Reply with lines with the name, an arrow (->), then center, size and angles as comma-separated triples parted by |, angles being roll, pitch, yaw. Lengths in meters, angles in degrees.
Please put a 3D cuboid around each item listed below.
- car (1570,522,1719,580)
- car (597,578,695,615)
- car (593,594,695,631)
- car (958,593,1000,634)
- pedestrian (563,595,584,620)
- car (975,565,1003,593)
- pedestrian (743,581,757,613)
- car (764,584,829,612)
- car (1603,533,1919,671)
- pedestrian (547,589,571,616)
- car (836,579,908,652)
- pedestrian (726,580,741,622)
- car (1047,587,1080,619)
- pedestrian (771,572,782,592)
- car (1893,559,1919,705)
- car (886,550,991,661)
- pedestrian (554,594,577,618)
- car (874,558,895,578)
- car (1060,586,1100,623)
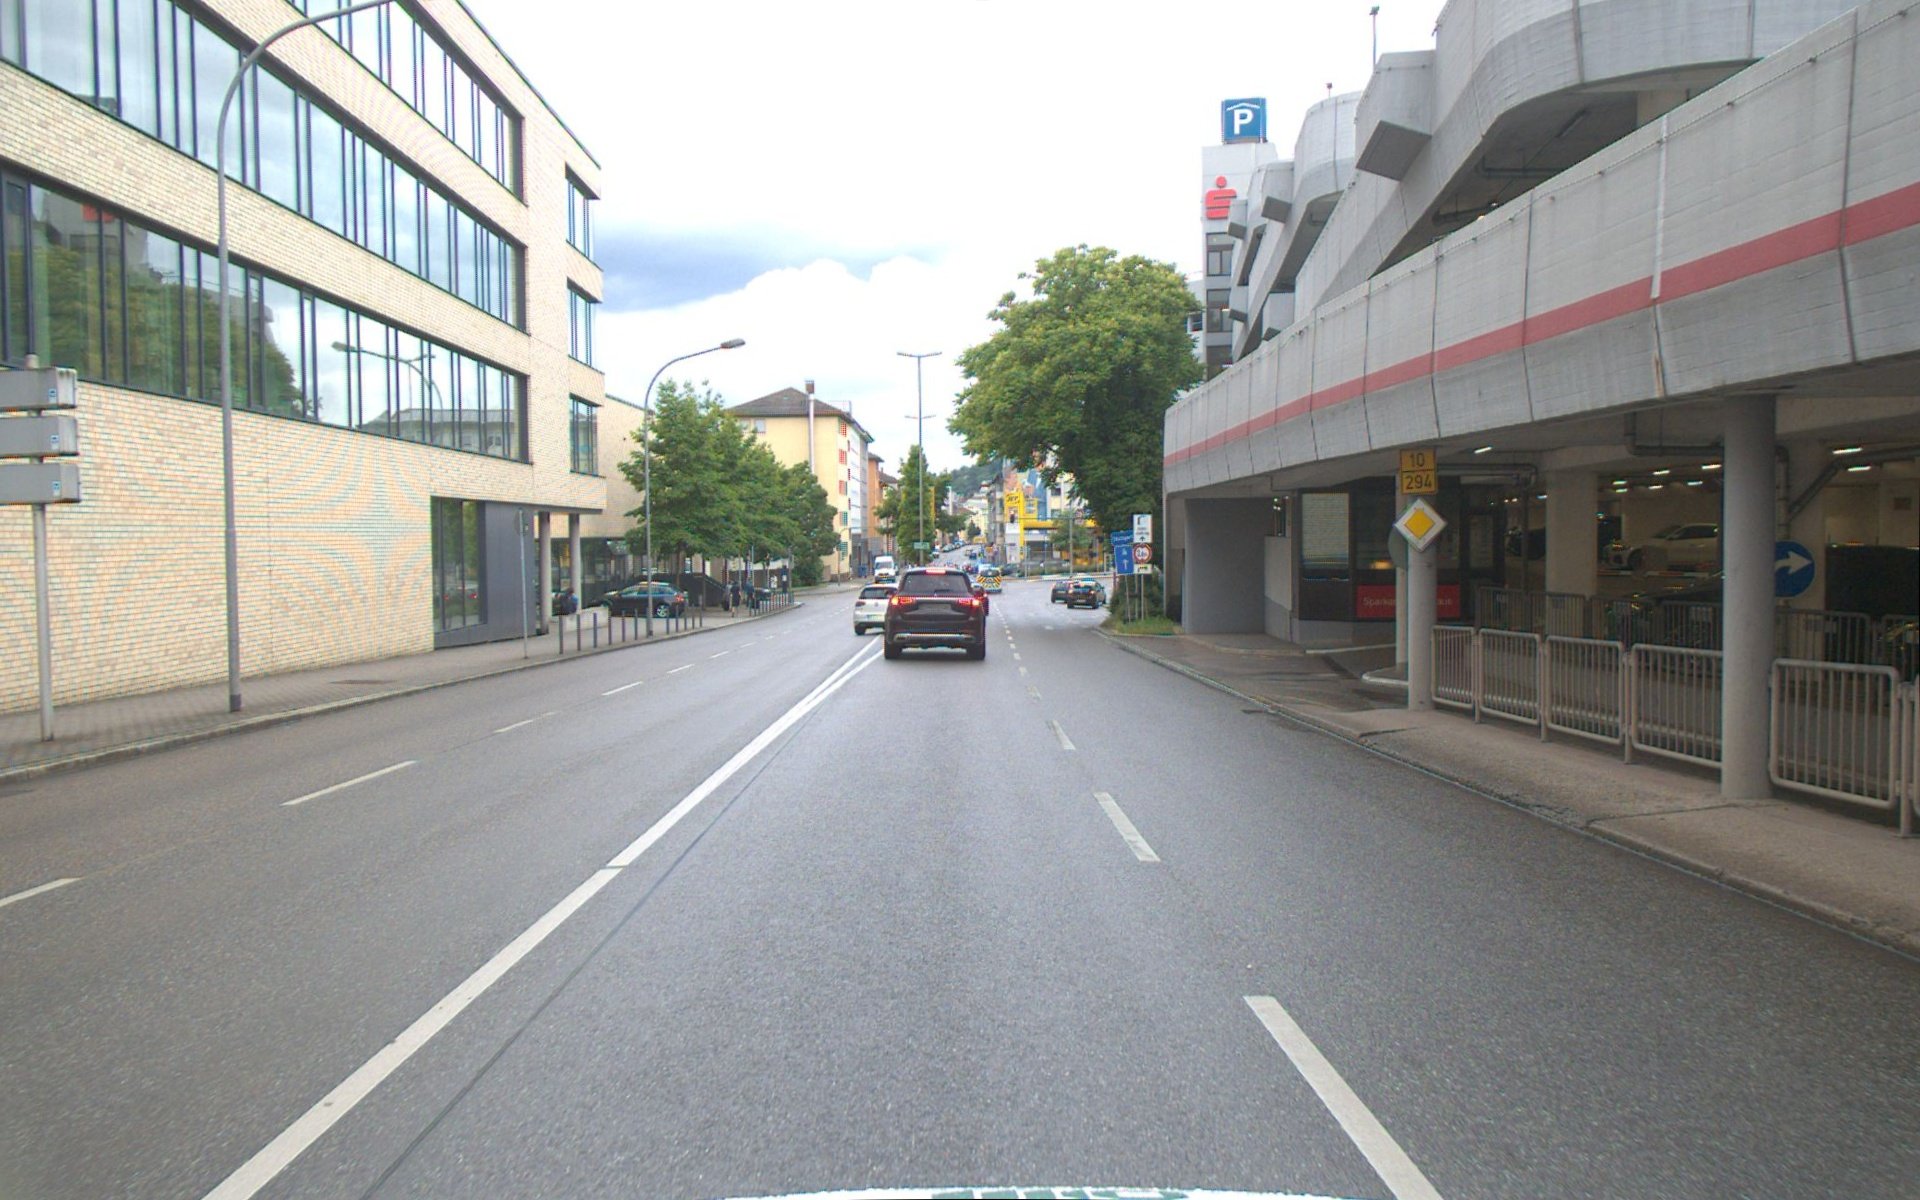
car -> 21.228, -1.509, 51.426 | 3.902, 1.668, 2.002 | 1, 0, 10
car -> -14.708, -0.184, 77.657 | 4.330, 1.601, 1.999 | 1, 2, -5
car -> -14.396, 0.560, 75.456 | 4.382, 1.615, 1.998 | -1, 1, -6
car -> 0.829, 0.612, 74.784 | 1.669, 1.746, 3.441 | 1, 0, -3
pedestrian -> -13.383, 0.259, 57.277 | 0.574, 0.859, 0.727 | 0, 0, 0
car -> 2.173, -1.557, 124.331 | 1.953, 2.049, 3.999 | 1, 0, -1
pedestrian -> -11.931, -0.174, 93.911 | 0.674, 1.756, 0.754 | 1, -3, 0
car -> -12.071, -0.143, 121.991 | 4.713, 2.049, 1.997 | 0, 1, -7
car -> 11.067, 0.031, 21.913 | 4.478, 1.668, 1.823 | 1, 0, 12
pedestrian -> -13.649, 0.084, 56.309 | 0.667, 0.901, 0.524 | 1, 0, 0
car -> -2.589, 0.462, 49.757 | 1.953, 2.049, 3.999 | 1, 0, -1
pedestrian -> -11.026, 0.054, 80.489 | 0.576, 2.049, 0.749 | 1, 0, -1
car -> 6.852, 0.196, 109.357 | 1.952, 2.049, 4.000 | 1, 0, 1
pedestrian -> -14.236, -1.385, 128.232 | 0.697, 1.487, 0.598 | 1, 0, -1
car -> 11.880, 0.302, 16.913 | 3.643, 1.531, 1.809 | -2, 1, 8
car -> -0.440, 0.111, 33.539 | 1.953, 2.049, 3.999 | 1, 0, -1
pedestrian -> -13.448, 0.190, 56.376 | 0.585, 0.800, 0.760 | 1, 0, 0
car -> -7.529, -3.192, 165.447 | 1.953, 1.908, 5.140 | 1, 0, -1
car -> 6.991, 0.233, 97.070 | 1.953, 2.049, 3.999 | 1, 1, -1
